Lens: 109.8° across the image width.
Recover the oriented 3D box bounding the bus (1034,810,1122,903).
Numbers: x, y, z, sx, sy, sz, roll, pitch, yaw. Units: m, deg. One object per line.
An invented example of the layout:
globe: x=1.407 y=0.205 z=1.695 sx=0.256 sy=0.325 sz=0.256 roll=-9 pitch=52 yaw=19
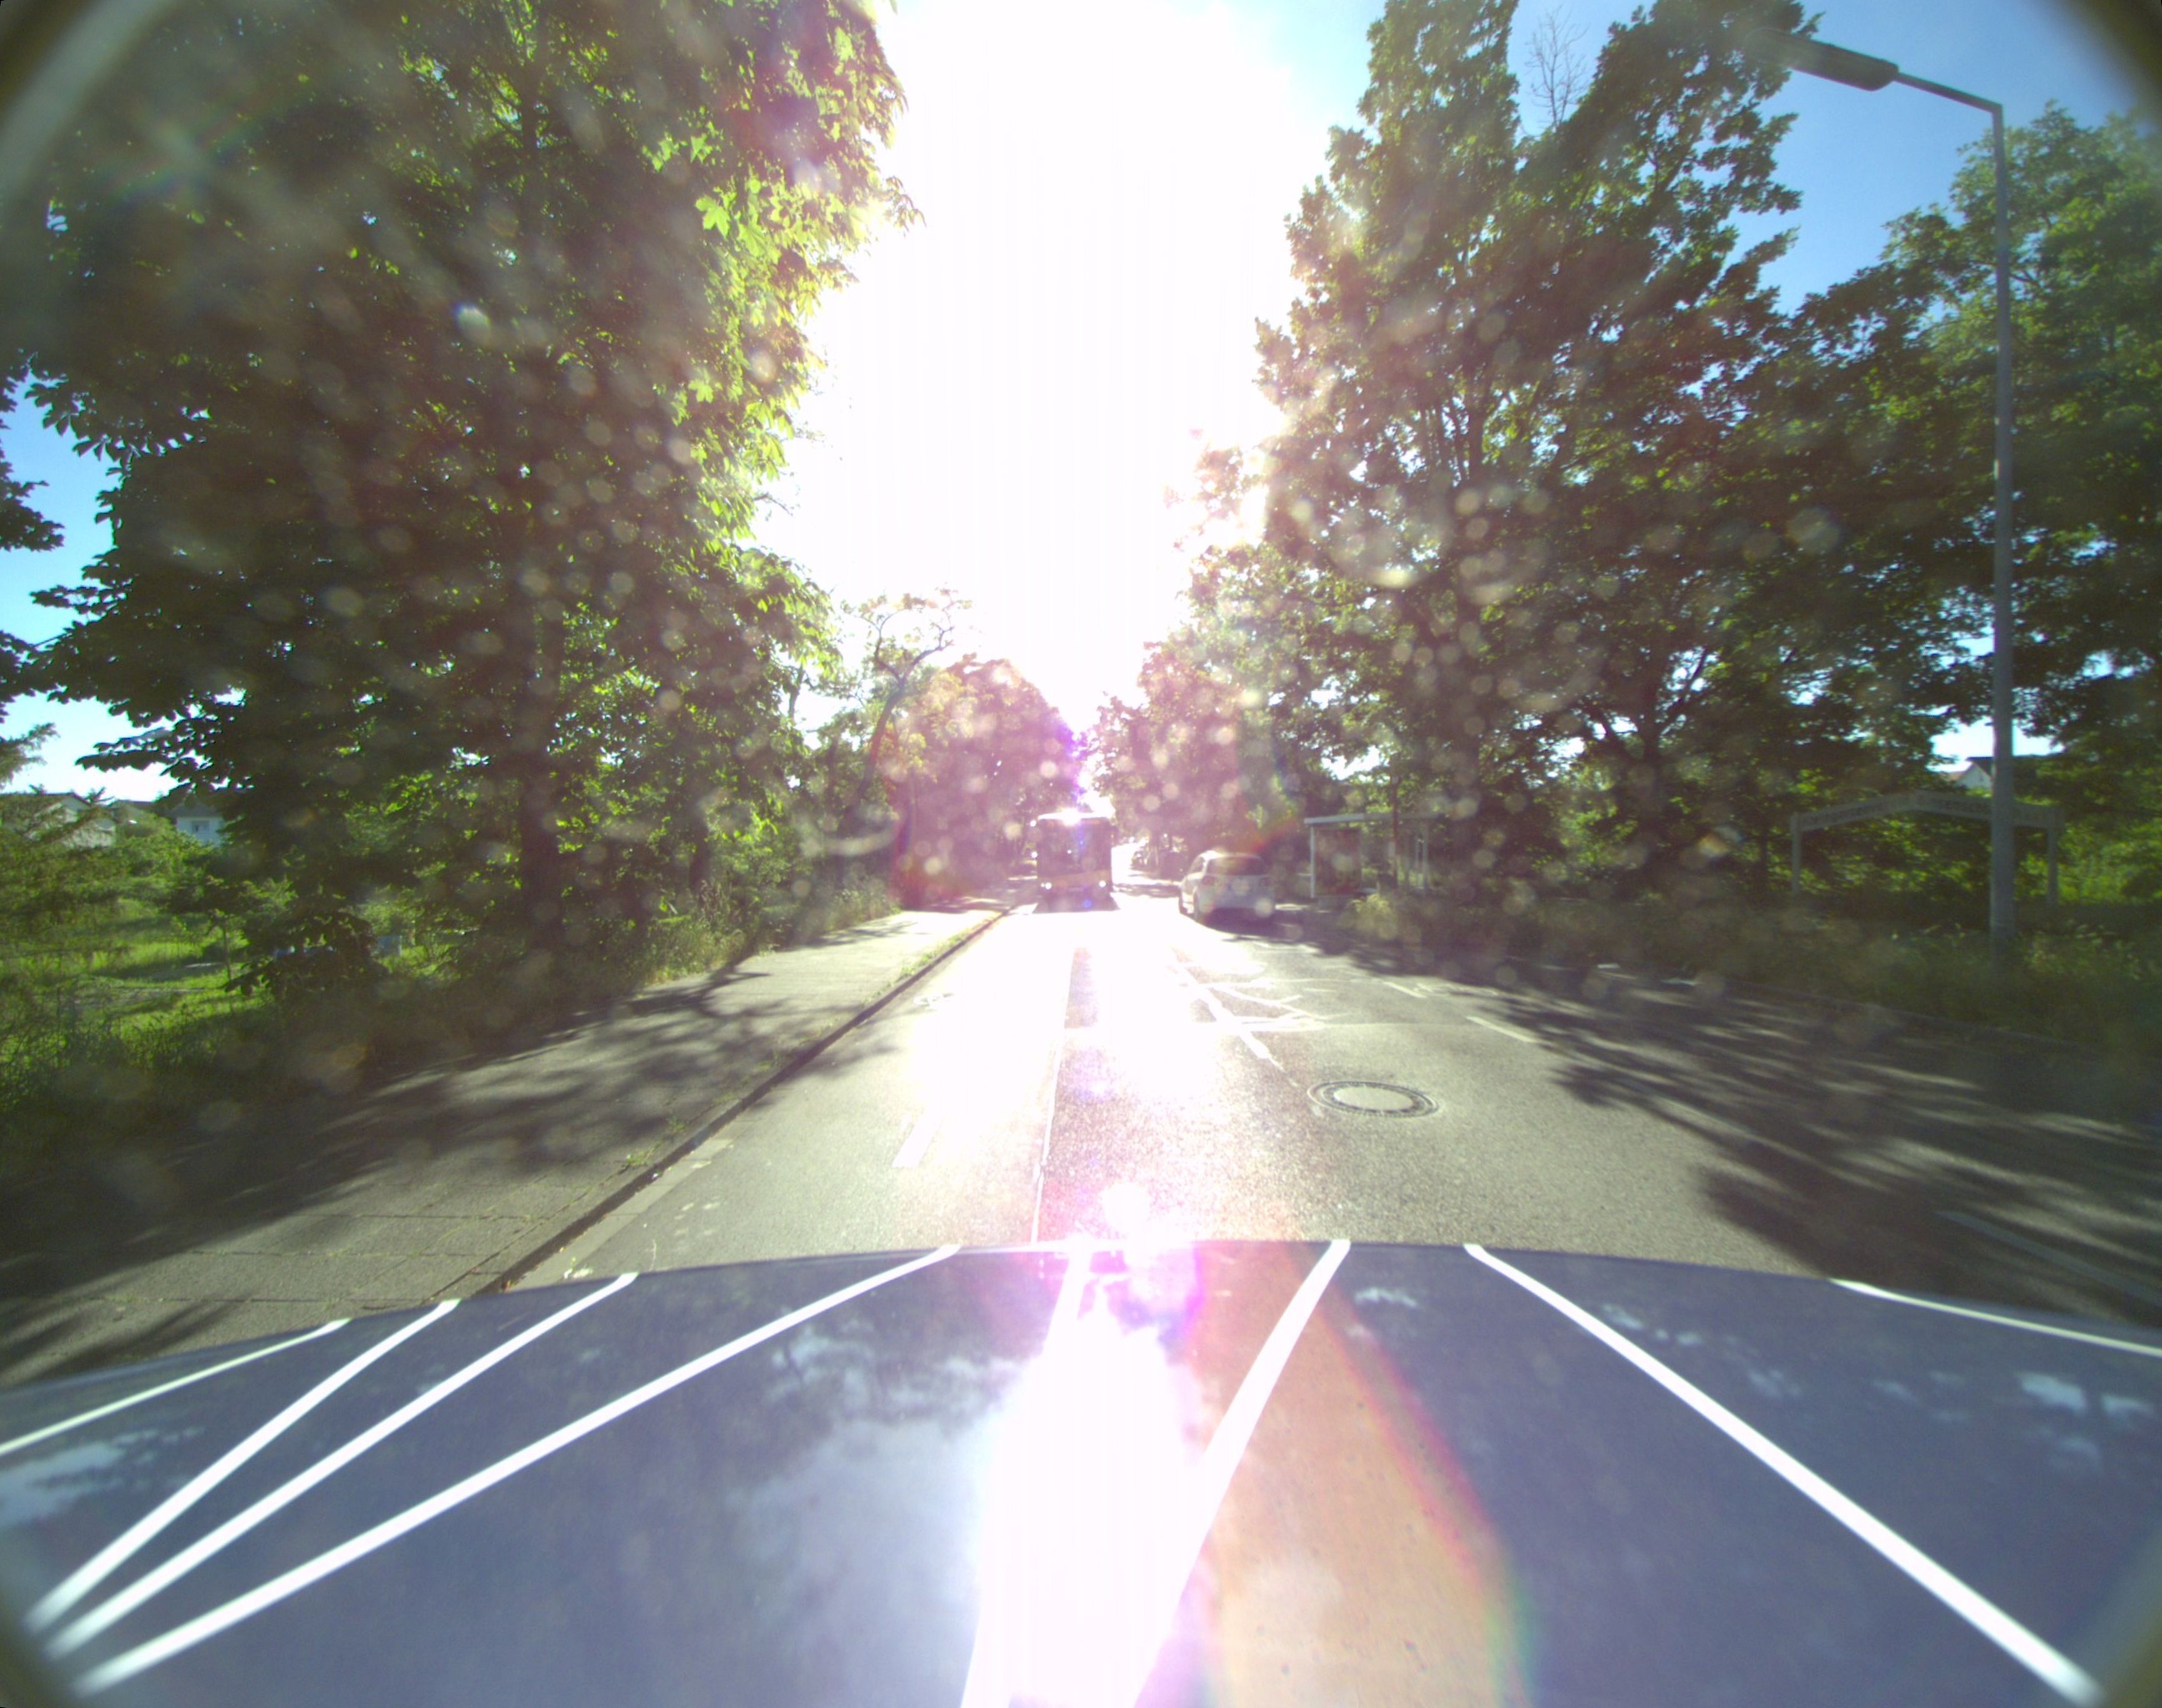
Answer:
bus: x=-0.170 y=0.092 z=31.457 sx=2.790 sy=2.965 sz=12.893 roll=-2 pitch=0 yaw=-1

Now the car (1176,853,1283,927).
car: x=3.407 y=0.777 z=18.157 sx=1.756 sy=1.554 sz=4.120 roll=1 pitch=0 yaw=0
